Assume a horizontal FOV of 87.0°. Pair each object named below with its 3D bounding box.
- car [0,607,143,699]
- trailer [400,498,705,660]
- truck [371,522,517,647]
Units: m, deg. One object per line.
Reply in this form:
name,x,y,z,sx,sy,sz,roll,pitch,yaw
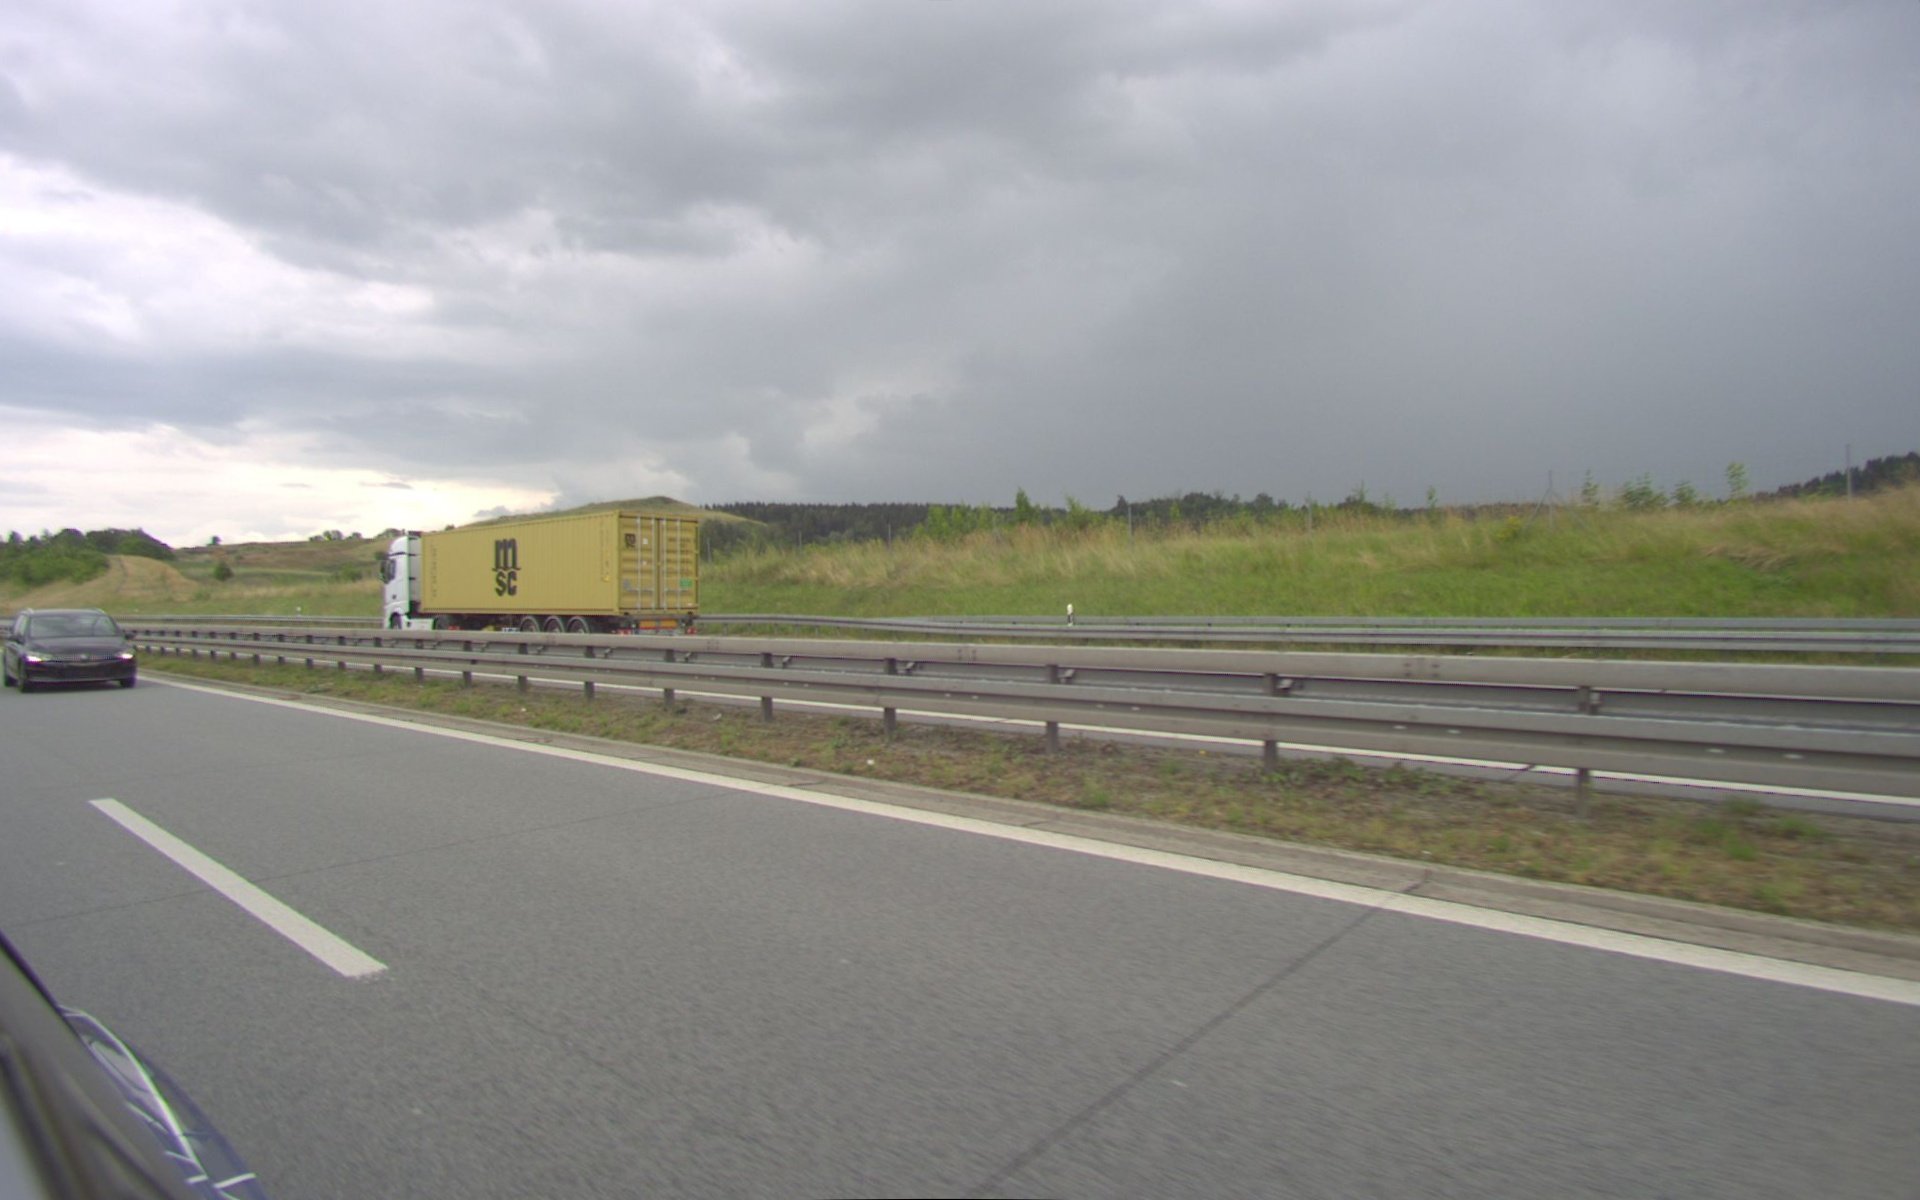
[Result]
car,-18.975,1.032,21.374,5.396,1.683,1.876,-1,0,42
trailer,-12.755,-0.424,30.317,13.695,3.955,2.563,-1,0,41
truck,-17.780,-0.452,34.755,5.585,3.955,2.565,-1,0,41
